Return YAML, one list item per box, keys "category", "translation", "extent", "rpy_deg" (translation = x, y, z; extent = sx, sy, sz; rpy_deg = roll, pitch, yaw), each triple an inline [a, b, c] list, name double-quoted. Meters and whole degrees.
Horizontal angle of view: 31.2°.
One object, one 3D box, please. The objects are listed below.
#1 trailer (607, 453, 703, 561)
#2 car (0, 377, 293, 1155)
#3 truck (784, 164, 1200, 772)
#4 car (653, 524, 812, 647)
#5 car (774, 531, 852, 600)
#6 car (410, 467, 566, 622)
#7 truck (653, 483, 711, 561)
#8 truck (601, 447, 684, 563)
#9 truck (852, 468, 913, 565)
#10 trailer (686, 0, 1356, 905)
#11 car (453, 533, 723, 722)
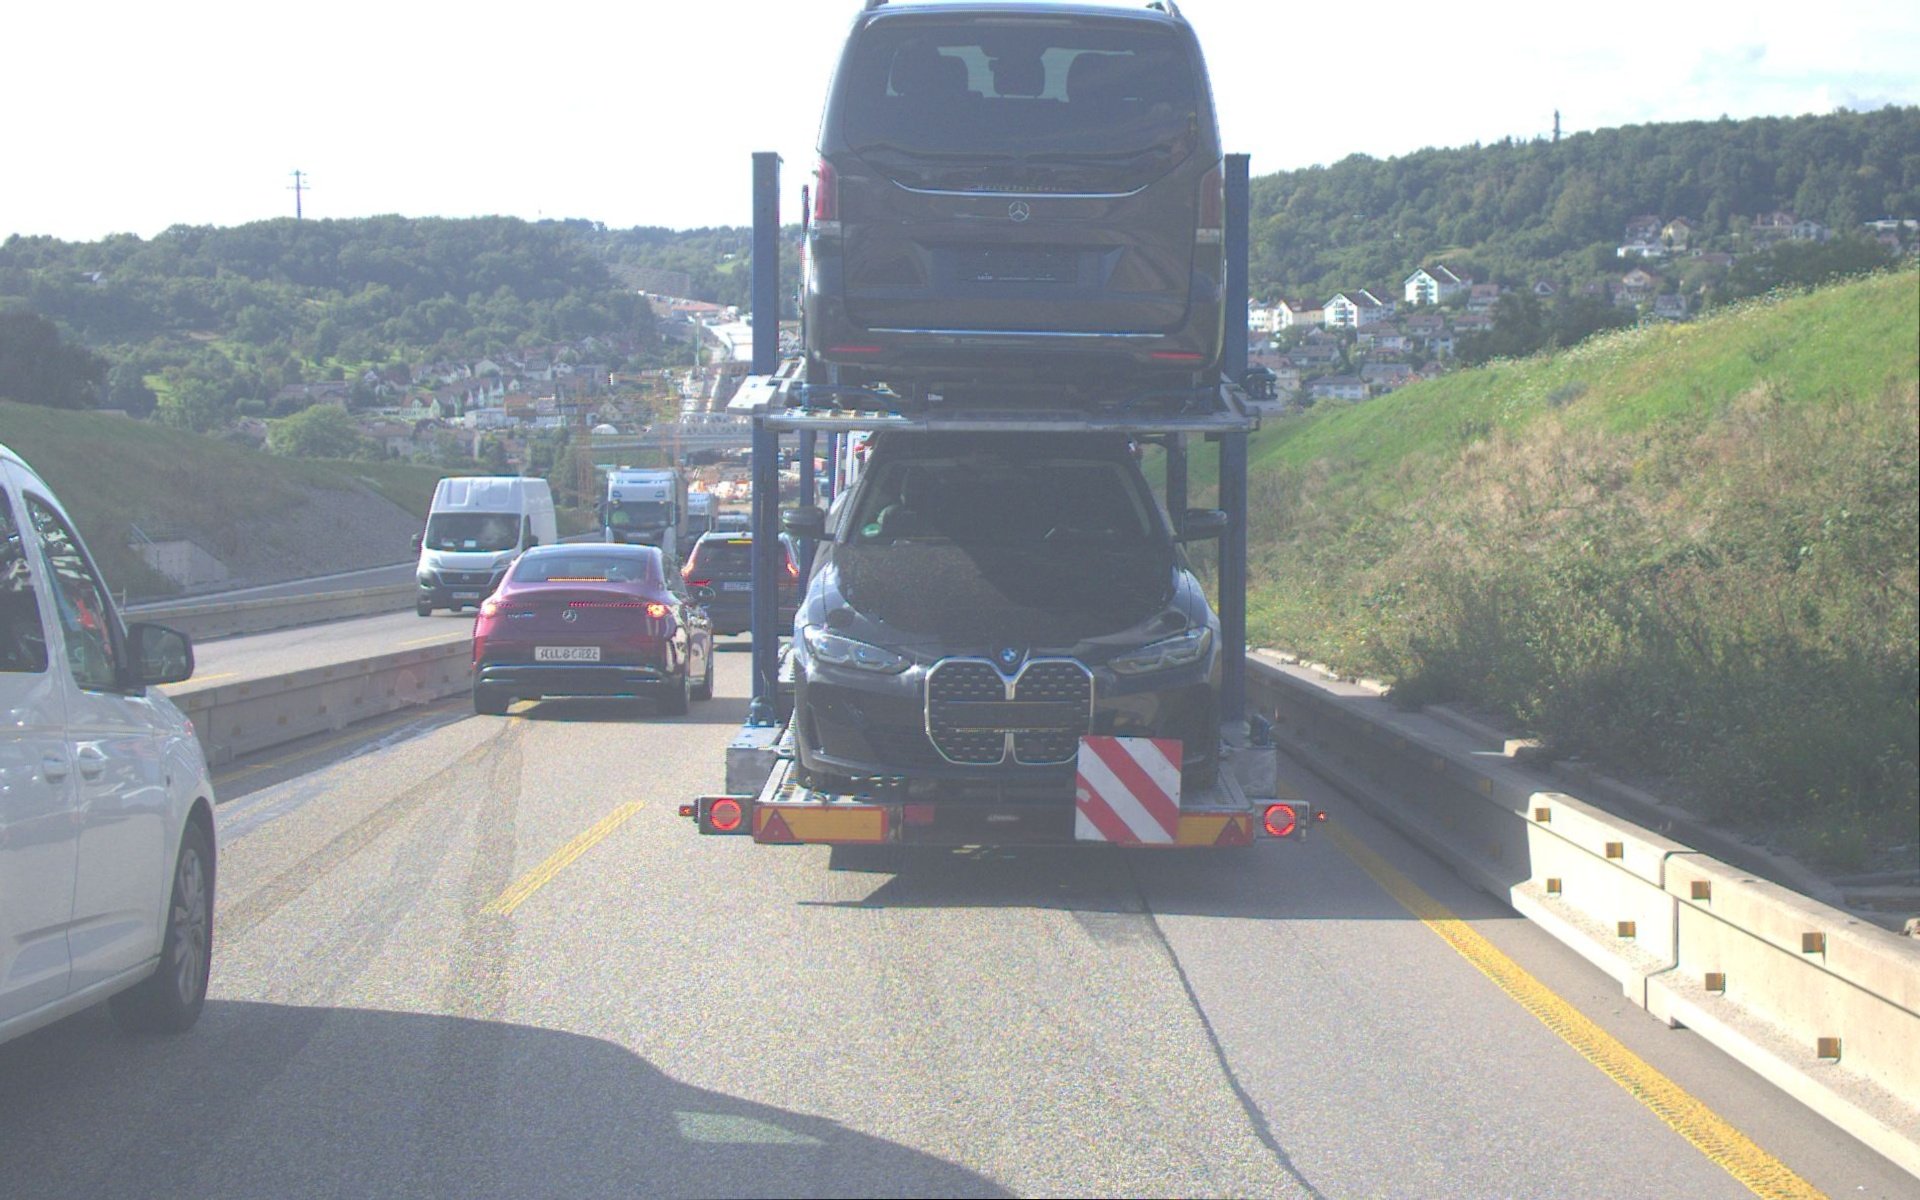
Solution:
- category: "trailer"
  translation: [-11.676, -3.531, 132.642]
  extent: [2.614, 3.940, 13.875]
  rpy_deg: [0, 1, -1]
- category: "car"
  translation: [-3.126, 0.349, 8.934]
  extent: [1.823, 1.817, 4.456]
  rpy_deg: [1, 1, 1]
- category: "truck"
  translation: [0.242, -0.906, 25.173]
  extent: [2.678, 3.908, 6.027]
  rpy_deg: [0, 1, 1]
- category: "car"
  translation: [-3.155, -0.243, 48.471]
  extent: [1.993, 1.619, 4.750]
  rpy_deg: [1, 1, -1]
- category: "car"
  translation: [-3.464, -0.837, 81.648]
  extent: [1.796, 1.591, 4.743]
  rpy_deg: [0, 1, -2]
- category: "car"
  translation: [-9.242, -1.091, 67.814]
  extent: [2.110, 2.826, 6.139]
  rpy_deg: [-3, 1, 0]
- category: "truck"
  translation: [-14.961, -4.180, 185.717]
  extent: [2.638, 4.085, 10.820]
  rpy_deg: [0, 1, -2]
- category: "truck"
  translation: [-11.597, -3.443, 125.789]
  extent: [2.614, 4.139, 5.782]
  rpy_deg: [0, 1, -1]
- category: "truck"
  translation: [-3.804, -4.053, 167.526]
  extent: [2.863, 4.555, 11.659]
  rpy_deg: [0, 1, -2]
- category: "trailer"
  translation: [0.240, -0.885, 19.630]
  extent: [2.708, 4.015, 11.420]
  rpy_deg: [0, 1, 0]
- category: "car"
  translation: [-3.225, 0.184, 30.664]
  extent: [1.823, 1.487, 4.684]
  rpy_deg: [1, 2, 1]
